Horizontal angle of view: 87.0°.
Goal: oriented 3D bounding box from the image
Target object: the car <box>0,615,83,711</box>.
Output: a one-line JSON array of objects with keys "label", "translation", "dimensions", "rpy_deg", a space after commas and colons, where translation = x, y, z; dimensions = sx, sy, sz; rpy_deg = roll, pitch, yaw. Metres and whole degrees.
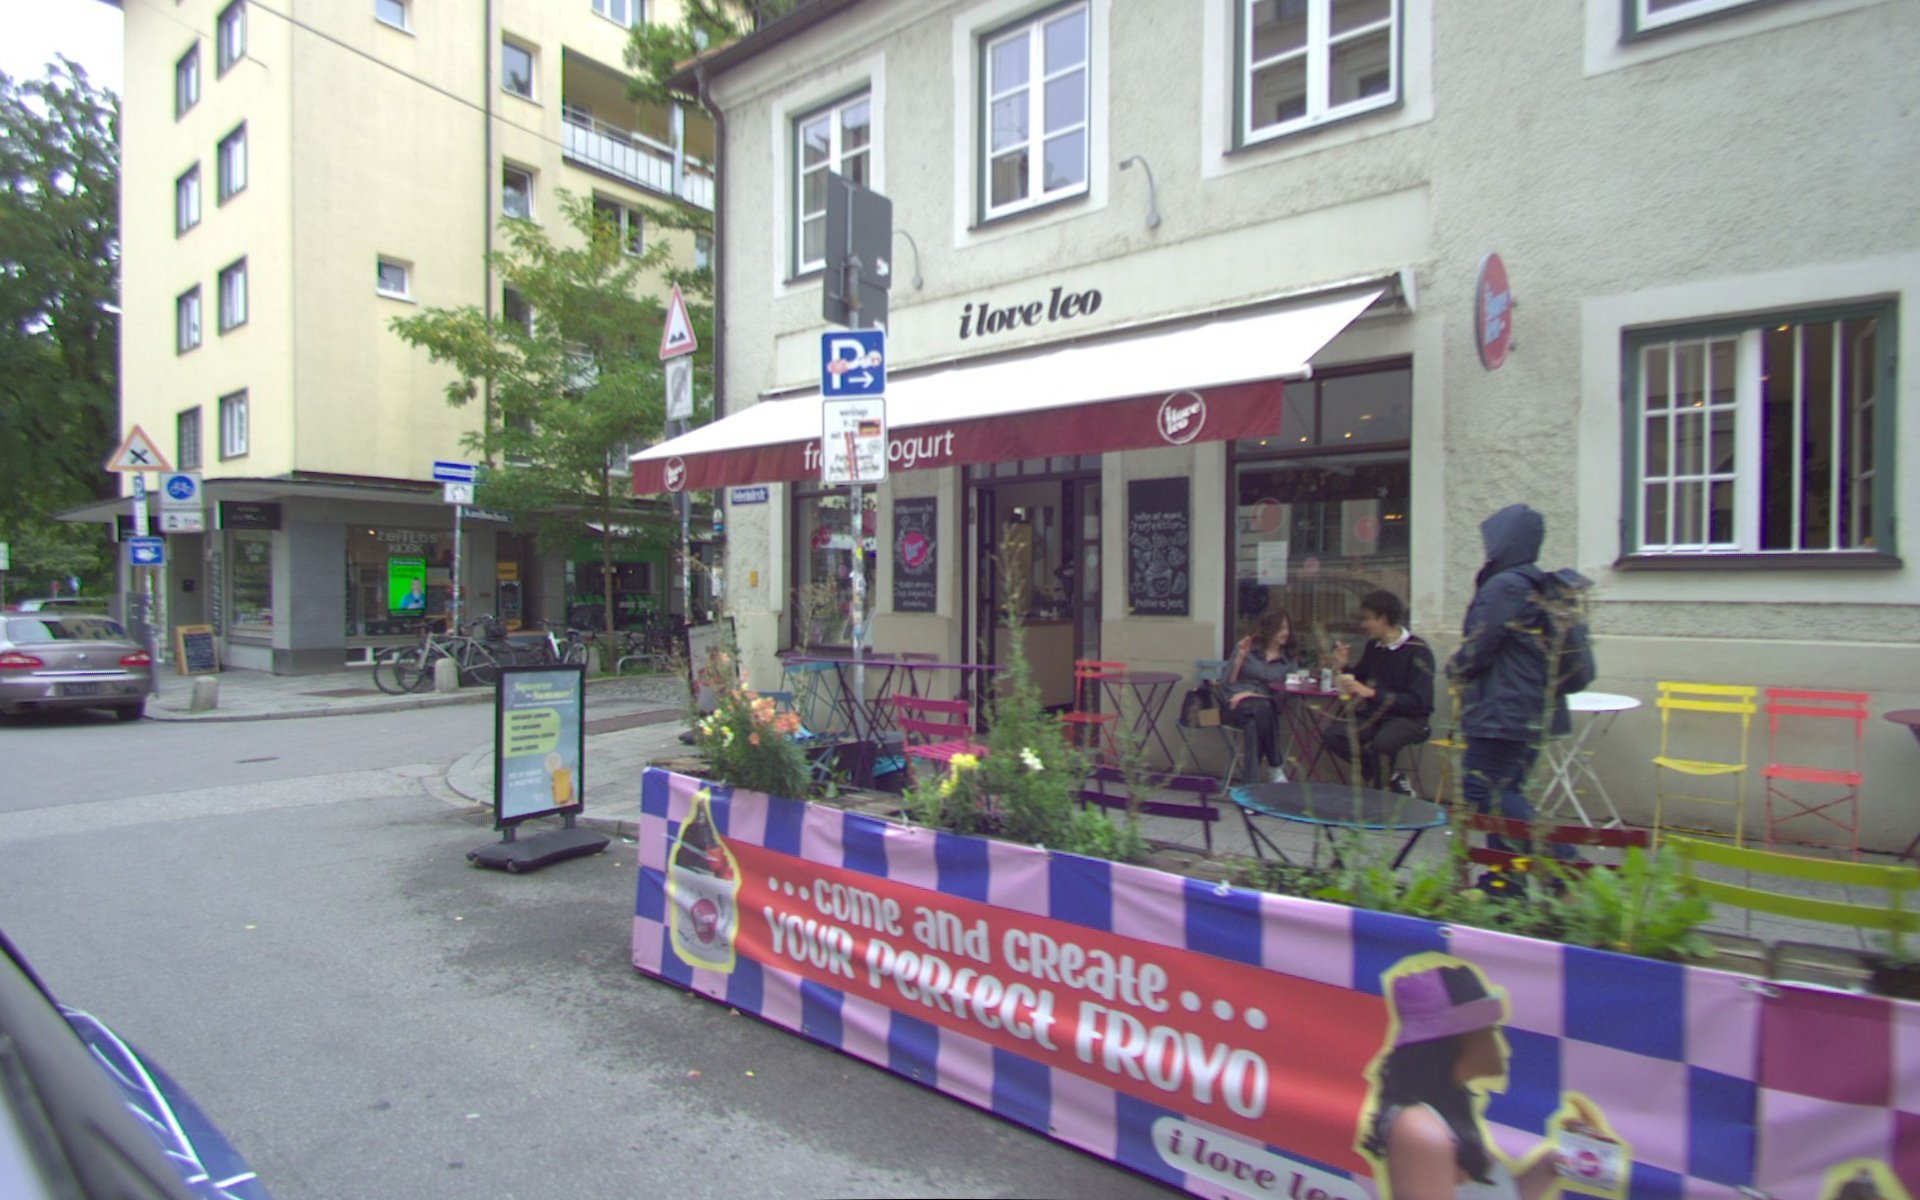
[{"label": "car", "translation": [-16.270, 0.997, 17.015], "dimensions": [4.094, 1.482, 1.662], "rpy_deg": [-1, -2, 40]}]

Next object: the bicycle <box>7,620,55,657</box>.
[{"label": "bicycle", "translation": [-30.985, 1.271, 33.782], "dimensions": [0.573, 1.134, 2.305], "rpy_deg": [-2, 1, -27]}]

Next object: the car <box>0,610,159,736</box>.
[{"label": "car", "translation": [-12.854, 0.893, 13.897], "dimensions": [4.941, 1.482, 1.664], "rpy_deg": [-1, -2, 37]}]

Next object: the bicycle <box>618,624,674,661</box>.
[{"label": "bicycle", "translation": [-7.265, 0.974, 23.378], "dimensions": [1.720, 0.786, 0.289], "rpy_deg": [1, 0, 37]}]

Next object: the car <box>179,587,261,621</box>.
[{"label": "car", "translation": [-47.708, 0.225, 65.352], "dimensions": [3.900, 2.120, 1.911], "rpy_deg": [-1, 1, -20]}]

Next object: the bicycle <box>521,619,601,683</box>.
[{"label": "bicycle", "translation": [-6.688, 0.836, 16.937], "dimensions": [1.713, 0.973, 0.376], "rpy_deg": [1, 2, 36]}]

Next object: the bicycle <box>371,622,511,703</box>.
[{"label": "bicycle", "translation": [-7.706, 0.904, 15.100], "dimensions": [0.391, 1.042, 1.799], "rpy_deg": [-2, 1, 41]}]

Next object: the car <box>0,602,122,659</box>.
[{"label": "car", "translation": [-35.271, 1.119, 38.882], "dimensions": [1.924, 2.016, 4.384], "rpy_deg": [1, 0, 24]}]

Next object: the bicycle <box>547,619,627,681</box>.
[{"label": "bicycle", "translation": [-6.406, 0.835, 17.338], "dimensions": [1.713, 0.973, 0.376], "rpy_deg": [1, 2, 36]}]

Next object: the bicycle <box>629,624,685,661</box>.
[{"label": "bicycle", "translation": [-7.089, 0.975, 23.625], "dimensions": [1.720, 0.786, 0.289], "rpy_deg": [1, 0, 37]}]

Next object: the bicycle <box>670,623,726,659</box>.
[{"label": "bicycle", "translation": [-6.374, 0.979, 24.580], "dimensions": [1.720, 0.786, 0.289], "rpy_deg": [1, 0, 37]}]

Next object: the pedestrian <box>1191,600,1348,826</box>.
[{"label": "pedestrian", "translation": [1.963, 0.659, 6.404], "dimensions": [0.693, 1.299, 0.795], "rpy_deg": [1, 0, 39]}]

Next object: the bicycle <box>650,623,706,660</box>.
[{"label": "bicycle", "translation": [-6.733, 0.977, 24.109], "dimensions": [1.720, 0.786, 0.289], "rpy_deg": [1, 0, 37]}]

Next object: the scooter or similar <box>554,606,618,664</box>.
[{"label": "scooter or similar", "translation": [-8.237, 0.748, 22.319], "dimensions": [0.985, 1.210, 1.204], "rpy_deg": [1, 0, -2]}]

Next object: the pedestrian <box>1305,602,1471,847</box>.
[{"label": "pedestrian", "translation": [2.524, 0.671, 5.947], "dimensions": [0.693, 1.300, 0.795], "rpy_deg": [1, 0, 39]}]

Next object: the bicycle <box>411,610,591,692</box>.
[{"label": "bicycle", "translation": [-8.064, 0.850, 17.937], "dimensions": [0.817, 1.220, 2.813], "rpy_deg": [1, 2, 41]}]

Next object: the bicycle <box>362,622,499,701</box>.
[{"label": "bicycle", "translation": [-8.007, 0.898, 15.369], "dimensions": [0.391, 1.042, 1.799], "rpy_deg": [-2, 1, 41]}]

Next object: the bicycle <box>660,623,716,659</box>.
[{"label": "bicycle", "translation": [-6.557, 0.978, 24.344], "dimensions": [1.720, 0.786, 0.289], "rpy_deg": [1, 0, 37]}]

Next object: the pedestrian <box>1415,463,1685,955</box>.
[{"label": "pedestrian", "translation": [2.425, 0.394, 4.176], "dimensions": [0.876, 1.795, 0.523], "rpy_deg": [1, 0, 39]}]

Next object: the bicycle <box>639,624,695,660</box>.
[{"label": "bicycle", "translation": [-6.912, 0.976, 23.866], "dimensions": [1.720, 0.786, 0.289], "rpy_deg": [1, 0, 37]}]

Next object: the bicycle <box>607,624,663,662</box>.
[{"label": "bicycle", "translation": [-7.444, 0.973, 23.143], "dimensions": [1.720, 0.786, 0.289], "rpy_deg": [1, 0, 37]}]
